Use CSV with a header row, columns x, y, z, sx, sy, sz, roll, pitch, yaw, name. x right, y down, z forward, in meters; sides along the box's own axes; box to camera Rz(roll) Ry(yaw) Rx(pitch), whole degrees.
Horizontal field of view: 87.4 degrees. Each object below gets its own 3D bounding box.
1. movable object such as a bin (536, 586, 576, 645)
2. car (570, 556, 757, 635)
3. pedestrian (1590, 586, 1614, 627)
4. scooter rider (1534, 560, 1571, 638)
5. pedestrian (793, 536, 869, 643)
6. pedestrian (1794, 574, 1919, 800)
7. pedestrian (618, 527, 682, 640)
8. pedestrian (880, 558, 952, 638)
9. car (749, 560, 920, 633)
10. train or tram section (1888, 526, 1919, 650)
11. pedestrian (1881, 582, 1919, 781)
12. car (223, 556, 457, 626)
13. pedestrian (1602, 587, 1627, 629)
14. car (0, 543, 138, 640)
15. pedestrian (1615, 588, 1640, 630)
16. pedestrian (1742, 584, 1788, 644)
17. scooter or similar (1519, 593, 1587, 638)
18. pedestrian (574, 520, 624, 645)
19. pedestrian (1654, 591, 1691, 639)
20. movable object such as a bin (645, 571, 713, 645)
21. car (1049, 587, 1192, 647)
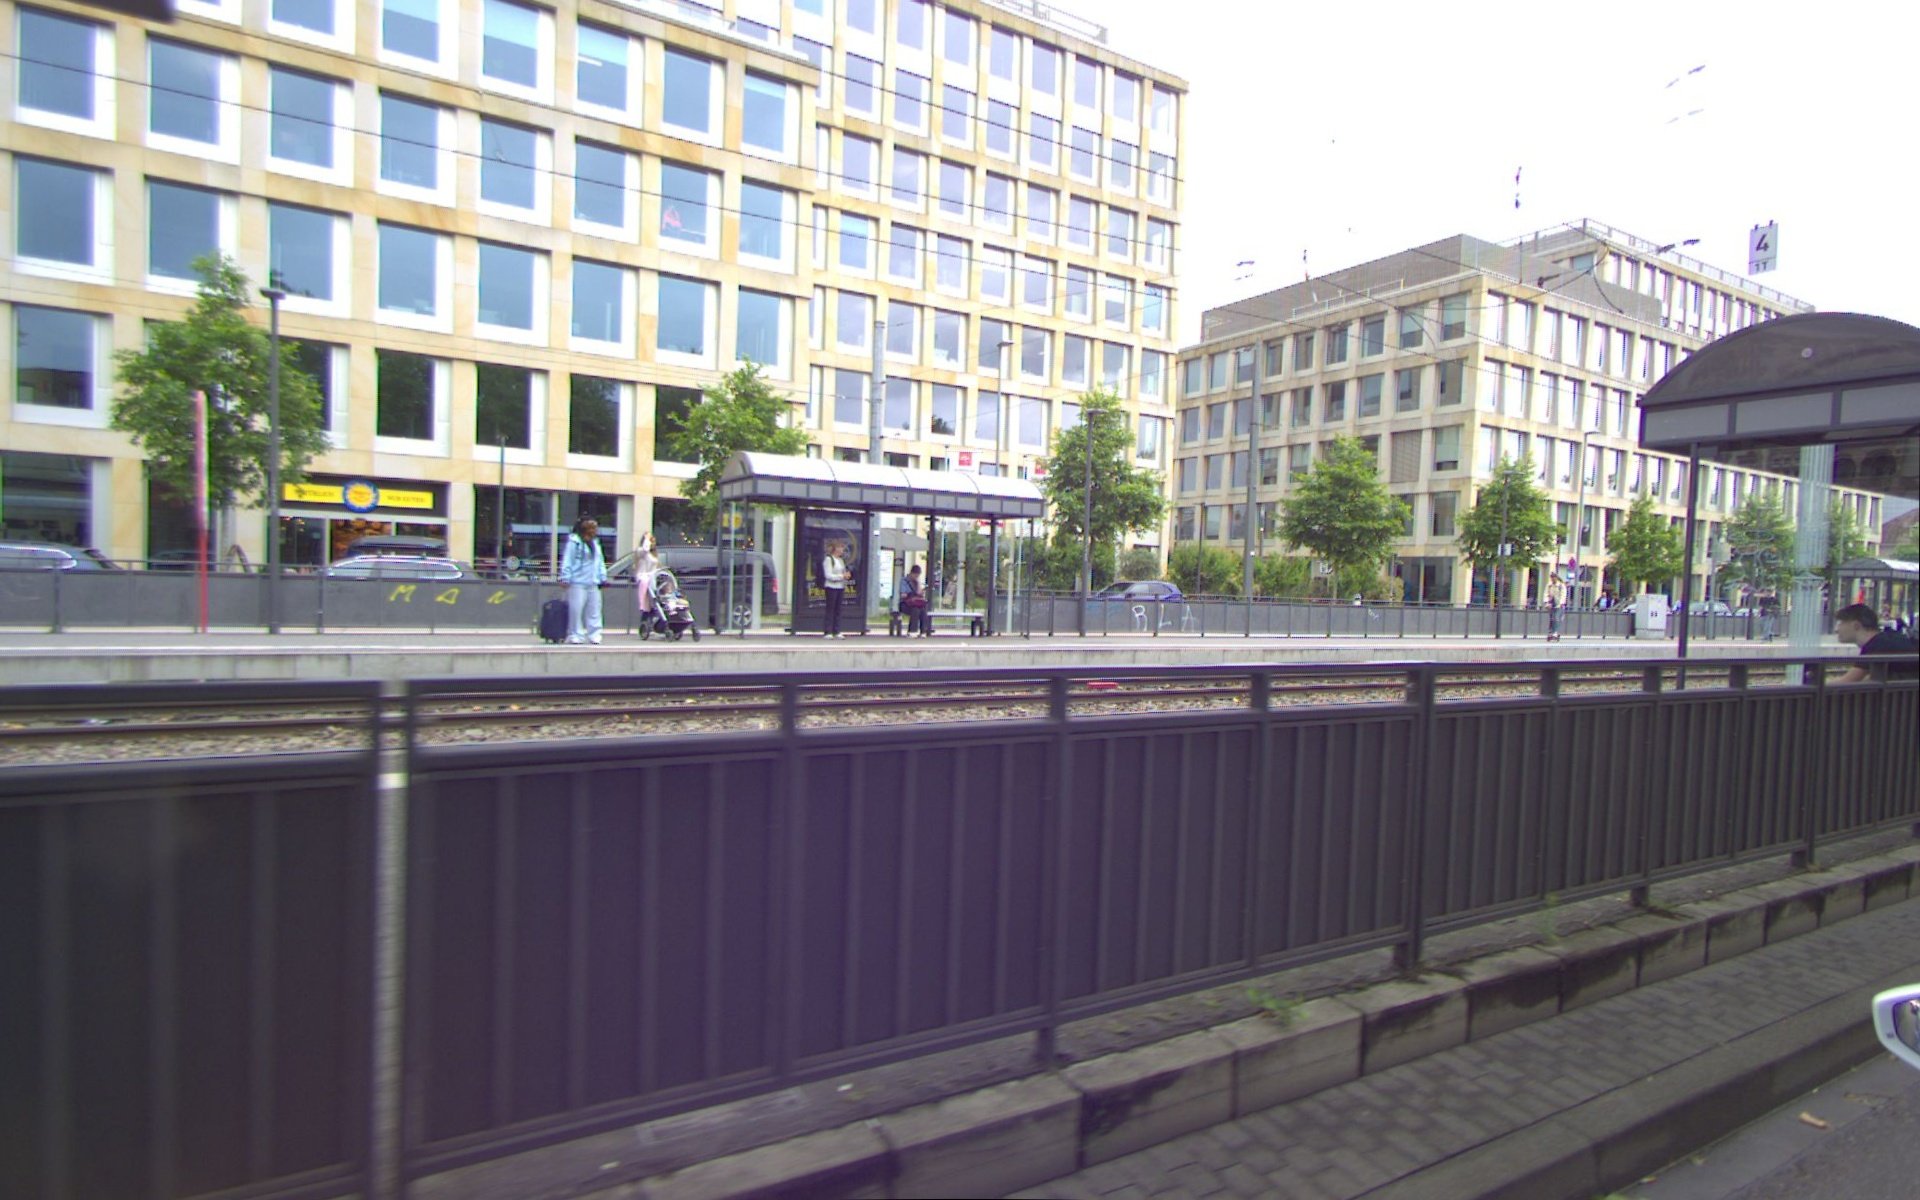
x,y,z,sx,sy,sz,roll,pitch,yaw,name
-5.359,0.200,13.321,0.462,0.757,0.534,2,1,-23,movable object such as a bin
-7.080,-0.097,23.978,3.950,1.684,1.985,2,1,-28,car
32.499,0.330,50.860,0.716,2.040,0.709,2,1,-30,pedestrian
15.853,-0.026,26.874,0.674,2.036,0.513,2,1,-30,scooter rider
-2.176,-0.177,16.872,0.927,1.709,1.034,2,1,-27,pedestrian
5.923,0.528,6.480,0.593,1.359,0.607,2,1,-29,pedestrian
-4.622,-0.245,15.006,0.568,1.629,0.656,3,1,27,pedestrian
-0.806,-0.039,18.319,0.927,1.390,1.034,2,1,-27,pedestrian
-3.264,-0.086,26.111,3.950,1.684,1.985,2,1,-28,car
35.494,-0.171,33.591,11.177,3.913,3.222,2,1,-30,train or tram section
7.043,0.587,7.078,0.593,1.391,0.607,2,1,-29,pedestrian
-12.645,-0.181,20.809,3.950,1.243,1.889,2,1,-28,car
32.278,0.401,49.520,0.716,2.040,0.709,2,1,-30,pedestrian
-17.765,-0.206,18.299,3.950,1.684,1.985,2,1,-28,car
33.344,0.441,50.196,0.716,2.040,0.709,2,1,-30,pedestrian
25.513,0.444,31.847,1.147,1.819,0.708,2,1,-31,pedestrian
15.900,0.431,26.915,2.201,1.129,0.520,2,1,-31,scooter or similar
-4.862,-0.231,13.512,0.557,1.629,0.534,2,1,-23,pedestrian
31.582,0.655,44.535,1.021,2.040,0.928,2,1,-31,pedestrian
-4.120,0.115,14.763,0.610,1.035,0.722,3,1,27,movable object such as a bin
5.011,0.522,31.338,3.950,1.684,1.985,2,1,-28,car
